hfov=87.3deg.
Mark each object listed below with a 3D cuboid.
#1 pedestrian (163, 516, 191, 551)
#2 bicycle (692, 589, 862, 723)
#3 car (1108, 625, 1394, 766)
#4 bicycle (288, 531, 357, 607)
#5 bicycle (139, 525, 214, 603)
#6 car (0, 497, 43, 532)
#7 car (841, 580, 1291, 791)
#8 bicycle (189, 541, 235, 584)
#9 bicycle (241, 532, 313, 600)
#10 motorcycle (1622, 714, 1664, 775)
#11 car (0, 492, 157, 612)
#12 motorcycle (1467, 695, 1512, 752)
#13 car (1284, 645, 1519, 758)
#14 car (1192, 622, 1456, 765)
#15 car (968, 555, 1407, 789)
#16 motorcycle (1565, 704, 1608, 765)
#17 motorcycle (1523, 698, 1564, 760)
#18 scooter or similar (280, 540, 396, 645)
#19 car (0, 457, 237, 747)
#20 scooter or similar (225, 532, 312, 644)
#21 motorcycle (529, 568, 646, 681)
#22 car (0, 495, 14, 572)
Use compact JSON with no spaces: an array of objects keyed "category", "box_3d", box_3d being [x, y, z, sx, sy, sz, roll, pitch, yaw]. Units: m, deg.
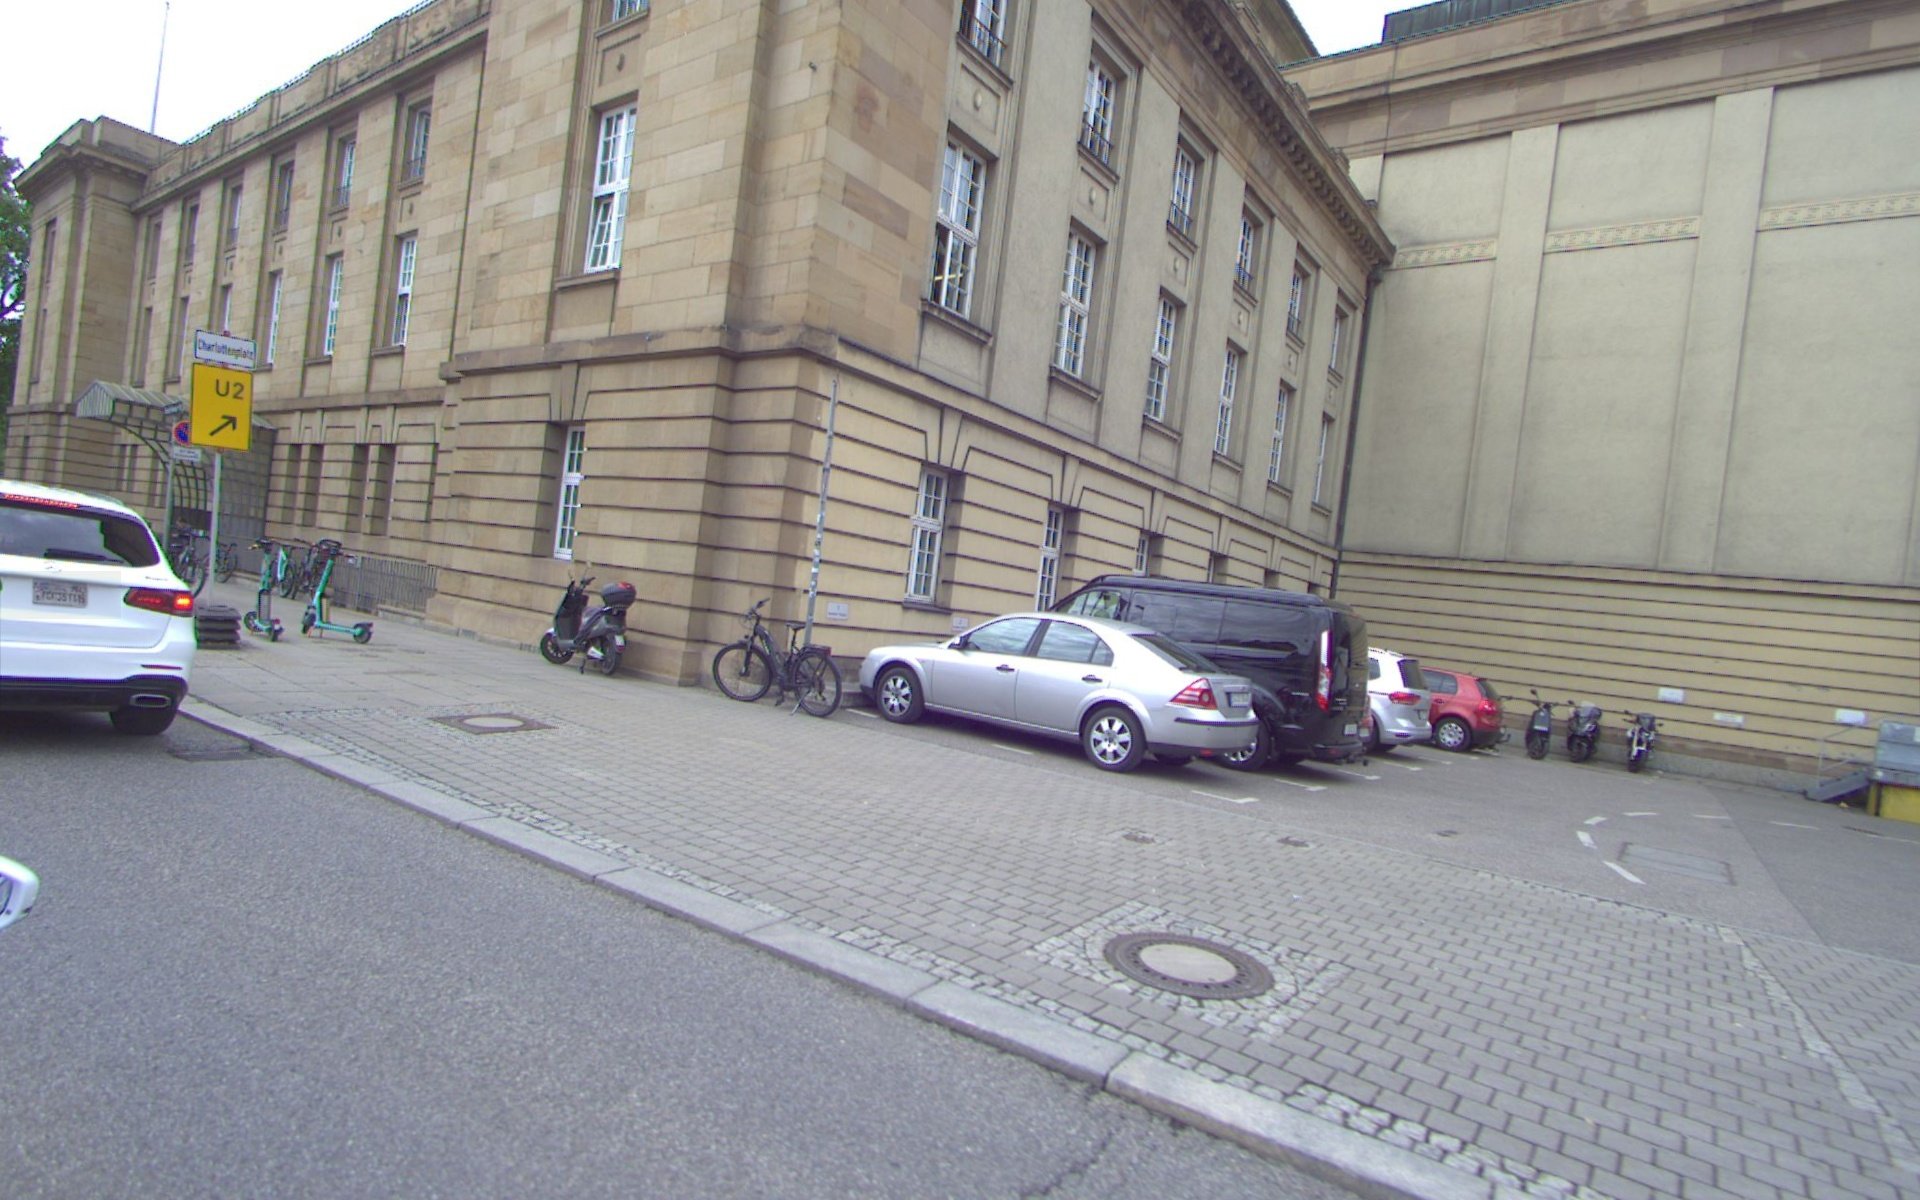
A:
[{"category":"pedestrian","box_3d":[-21.180,-1.794,27.222,0.367,0.883,0.429,6,-2,38]},{"category":"bicycle","box_3d":[-2.094,0.594,11.361,1.931,1.241,0.608,7,3,34]},{"category":"car","box_3d":[4.227,1.355,14.803,3.560,1.429,1.644,7,-1,36]},{"category":"bicycle","box_3d":[-12.305,-0.605,19.402,1.763,1.304,0.412,7,0,37]},{"category":"bicycle","box_3d":[-13.553,-0.637,17.387,1.803,1.171,0.459,7,0,36]},{"category":"car","box_3d":[-51.368,-4.742,53.265,1.654,1.587,3.836,7,-1,37]},{"category":"car","box_3d":[1.028,0.836,11.056,4.503,1.486,1.779,7,-1,36]},{"category":"bicycle","box_3d":[-17.379,-0.887,23.352,1.851,0.854,0.306,6,-2,39]},{"category":"bicycle","box_3d":[-14.220,-0.726,20.932,1.886,1.231,0.555,7,0,37]},{"category":"motorcycle","box_3d":[16.020,3.355,23.573,0.551,1.304,2.083,7,0,38]},{"category":"car","box_3d":[-14.151,-0.809,15.709,3.650,1.573,1.544,7,2,35]},{"category":"motorcycle","box_3d":[11.462,2.681,21.750,0.462,1.104,1.789,7,-3,38]},{"category":"car","box_3d":[8.688,1.955,19.911,3.858,1.552,1.644,7,-1,36]},{"category":"car","box_3d":[5.859,1.467,16.333,3.560,1.689,1.644,7,-1,36]},{"category":"car","box_3d":[2.739,0.792,12.719,4.839,2.093,1.950,7,-1,36]},{"category":"motorcycle","box_3d":[15.127,3.229,24.276,0.551,1.337,2.083,7,0,38]},{"category":"motorcycle","box_3d":[12.166,2.700,20.958,0.418,1.187,1.604,7,-3,38]},{"category":"scooter or similar","box_3d":[-8.374,-0.103,13.556,1.343,1.268,0.452,6,0,16]},{"category":"car","box_3d":[-7.160,-0.161,7.143,4.367,1.643,1.791,6,-3,35]},{"category":"scooter or similar","box_3d":[-8.797,-0.170,12.778,1.382,1.277,0.379,7,0,37]},{"category":"motorcycle","box_3d":[-4.870,0.294,13.082,1.895,1.258,0.454,7,1,41]},{"category":"car","box_3d":[-20.422,-1.501,20.035,3.799,1.473,1.615,6,0,37]}]
